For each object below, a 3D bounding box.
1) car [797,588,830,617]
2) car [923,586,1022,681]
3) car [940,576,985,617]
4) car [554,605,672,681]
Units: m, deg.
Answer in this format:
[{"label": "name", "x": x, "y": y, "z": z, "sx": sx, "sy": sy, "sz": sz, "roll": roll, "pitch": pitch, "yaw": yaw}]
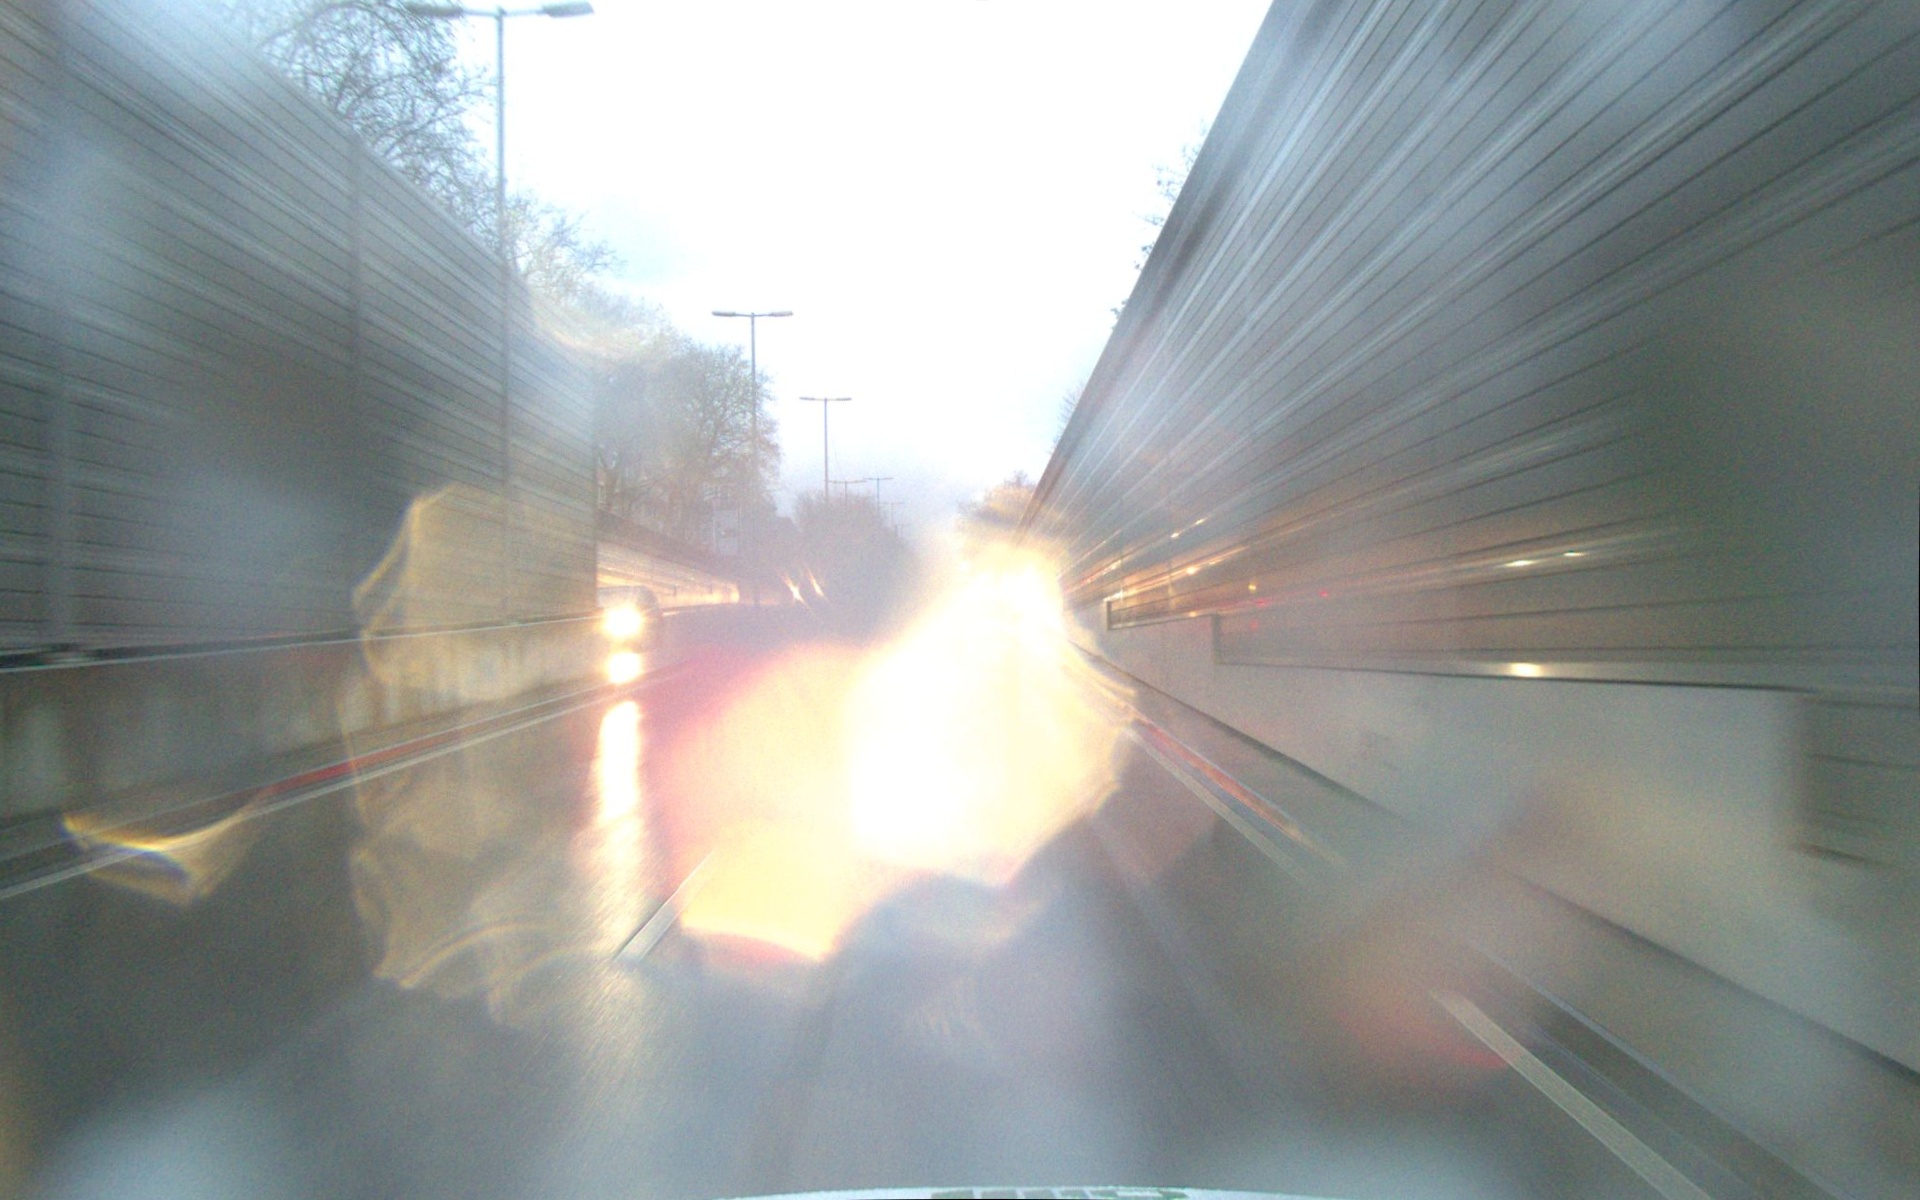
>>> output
[{"label": "car", "x": -8.070, "y": 0.128, "z": 91.384, "sx": 1.539, "sy": 1.496, "sz": 3.687, "roll": -1, "pitch": 1, "yaw": -1}, {"label": "car", "x": 0.186, "y": 0.538, "z": 26.928, "sx": 1.500, "sy": 1.422, "sz": 3.433, "roll": -1, "pitch": -1, "yaw": 0}, {"label": "car", "x": 0.098, "y": -0.139, "z": 72.651, "sx": 1.842, "sy": 1.649, "sz": 3.998, "roll": 0, "pitch": -2, "yaw": -2}, {"label": "car", "x": -7.948, "y": 1.010, "z": 38.222, "sx": 1.842, "sy": 1.649, "sz": 3.999, "roll": 0, "pitch": -2, "yaw": 0}]
